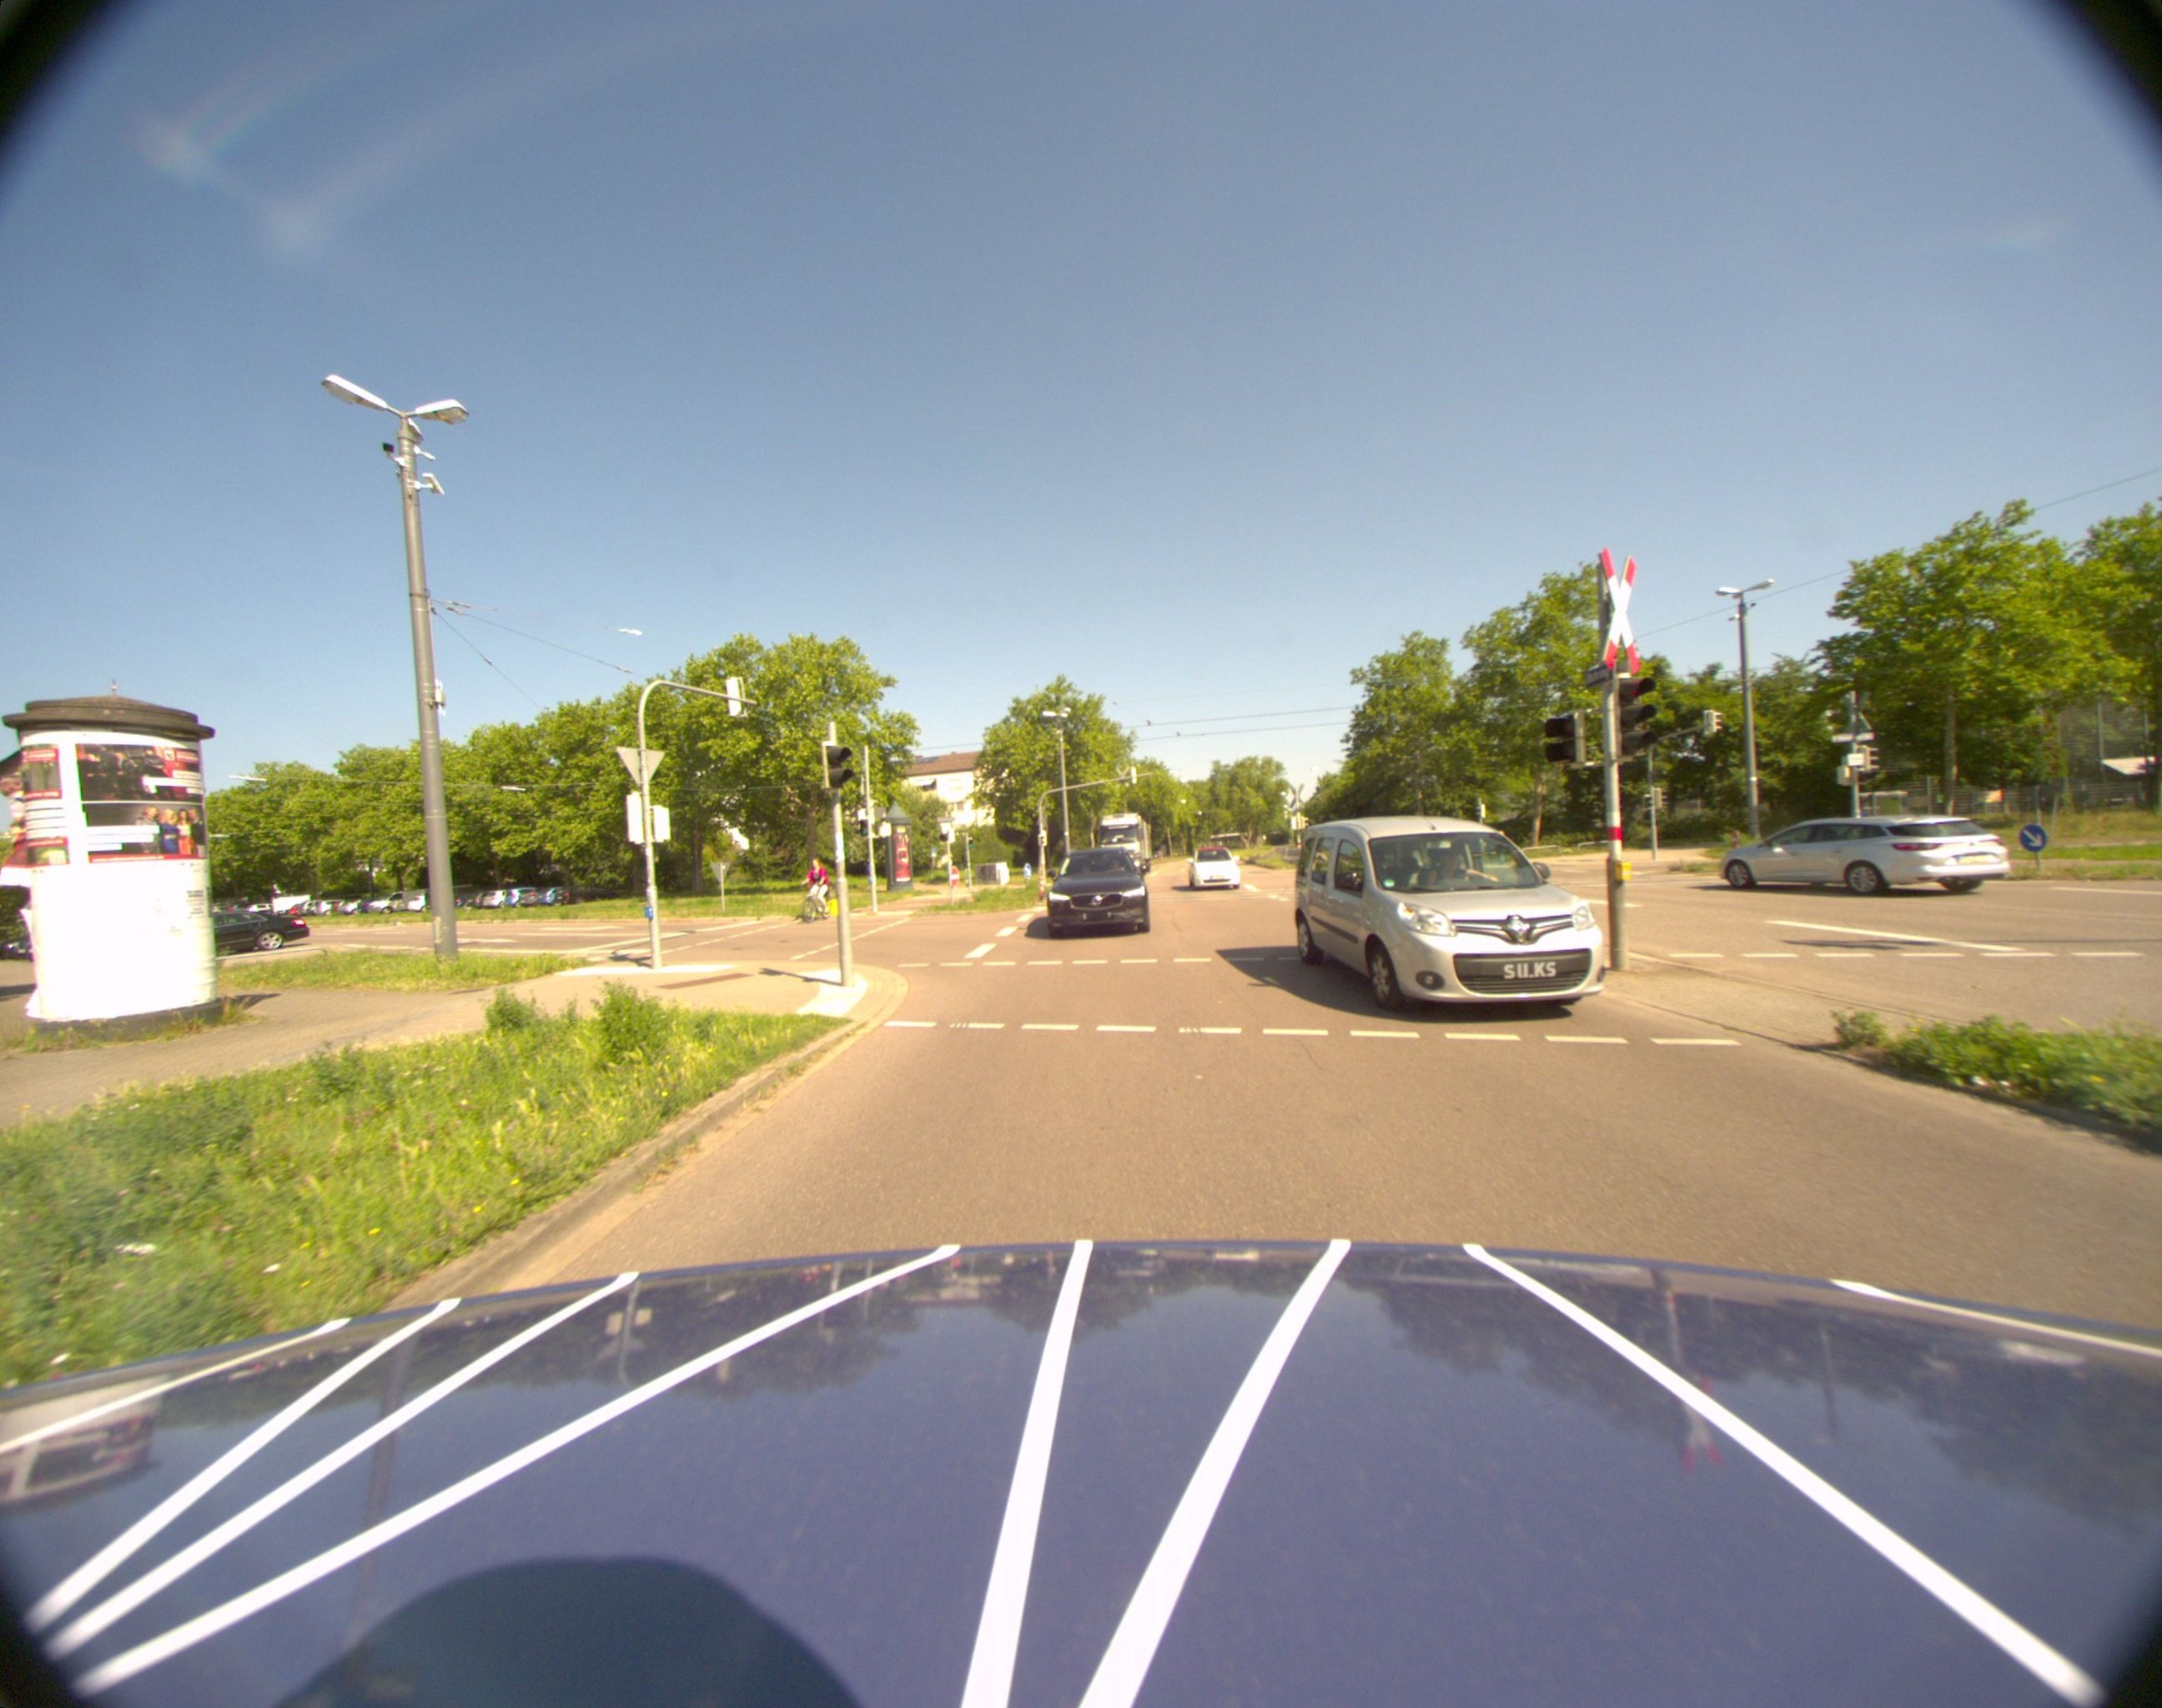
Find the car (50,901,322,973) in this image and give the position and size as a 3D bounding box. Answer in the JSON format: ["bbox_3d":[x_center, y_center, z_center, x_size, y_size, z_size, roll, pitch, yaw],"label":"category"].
[{"bbox_3d":[-28.399,2.568,24.412,2.138,1.490,5.125,-3,2,22],"label":"car"}]

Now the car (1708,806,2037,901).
[{"bbox_3d":[15.131,-0.040,15.011,1.698,1.499,4.661,-3,1,2],"label":"car"}]

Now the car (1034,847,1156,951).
[{"bbox_3d":[0.330,0.718,14.837,1.904,1.606,4.873,-3,0,2],"label":"car"}]

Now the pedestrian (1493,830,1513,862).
[{"bbox_3d":[20.598,-0.409,37.068,0.607,1.525,0.568,-3,1,1],"label":"pedestrian"}]

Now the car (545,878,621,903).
[{"bbox_3d":[-37.166,2.692,56.853,1.996,1.482,4.359,-3,1,19],"label":"car"}]

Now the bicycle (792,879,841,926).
[{"bbox_3d":[-7.659,1.375,22.112,0.693,1.178,2.124,-3,1,-2],"label":"bicycle"}]

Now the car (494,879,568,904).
[{"bbox_3d":[-44.083,2.967,61.018,1.996,1.623,4.360,-4,0,19],"label":"car"}]

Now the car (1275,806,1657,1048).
[{"bbox_3d":[3.555,0.535,8.093,1.877,1.829,4.375,-2,1,1],"label":"car"}]

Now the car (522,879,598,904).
[{"bbox_3d":[-39.768,2.854,58.153,1.996,1.482,4.360,-3,1,19],"label":"car"}]

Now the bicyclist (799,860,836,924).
[{"bbox_3d":[-7.669,1.089,22.115,0.702,1.777,0.810,-3,1,-2],"label":"bicyclist"}]

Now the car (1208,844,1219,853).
[{"bbox_3d":[32.065,-1.225,183.600,1.996,2.002,4.005,-3,0,20],"label":"car"}]

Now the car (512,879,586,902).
[{"bbox_3d":[-41.734,2.840,59.749,1.996,1.482,4.360,-3,1,19],"label":"car"}]

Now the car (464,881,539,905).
[{"bbox_3d":[-46.795,3.124,61.500,1.996,1.623,4.360,-3,1,19],"label":"car"}]

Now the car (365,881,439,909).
[{"bbox_3d":[-62.241,3.732,69.775,1.996,2.196,4.595,-3,1,19],"label":"car"}]

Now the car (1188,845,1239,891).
[{"bbox_3d":[4.950,0.459,28.610,1.688,1.482,4.378,-3,1,9],"label":"car"}]

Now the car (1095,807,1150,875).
[{"bbox_3d":[2.772,-0.834,48.460,2.901,3.898,7.144,-3,1,7],"label":"car"}]

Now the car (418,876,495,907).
[{"bbox_3d":[-54.052,3.238,65.886,1.995,2.276,4.596,-3,1,24],"label":"car"}]

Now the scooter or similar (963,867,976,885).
[{"bbox_3d":[-7.343,1.443,50.052,0.517,1.135,1.443,-5,2,-20],"label":"scooter or similar"}]
